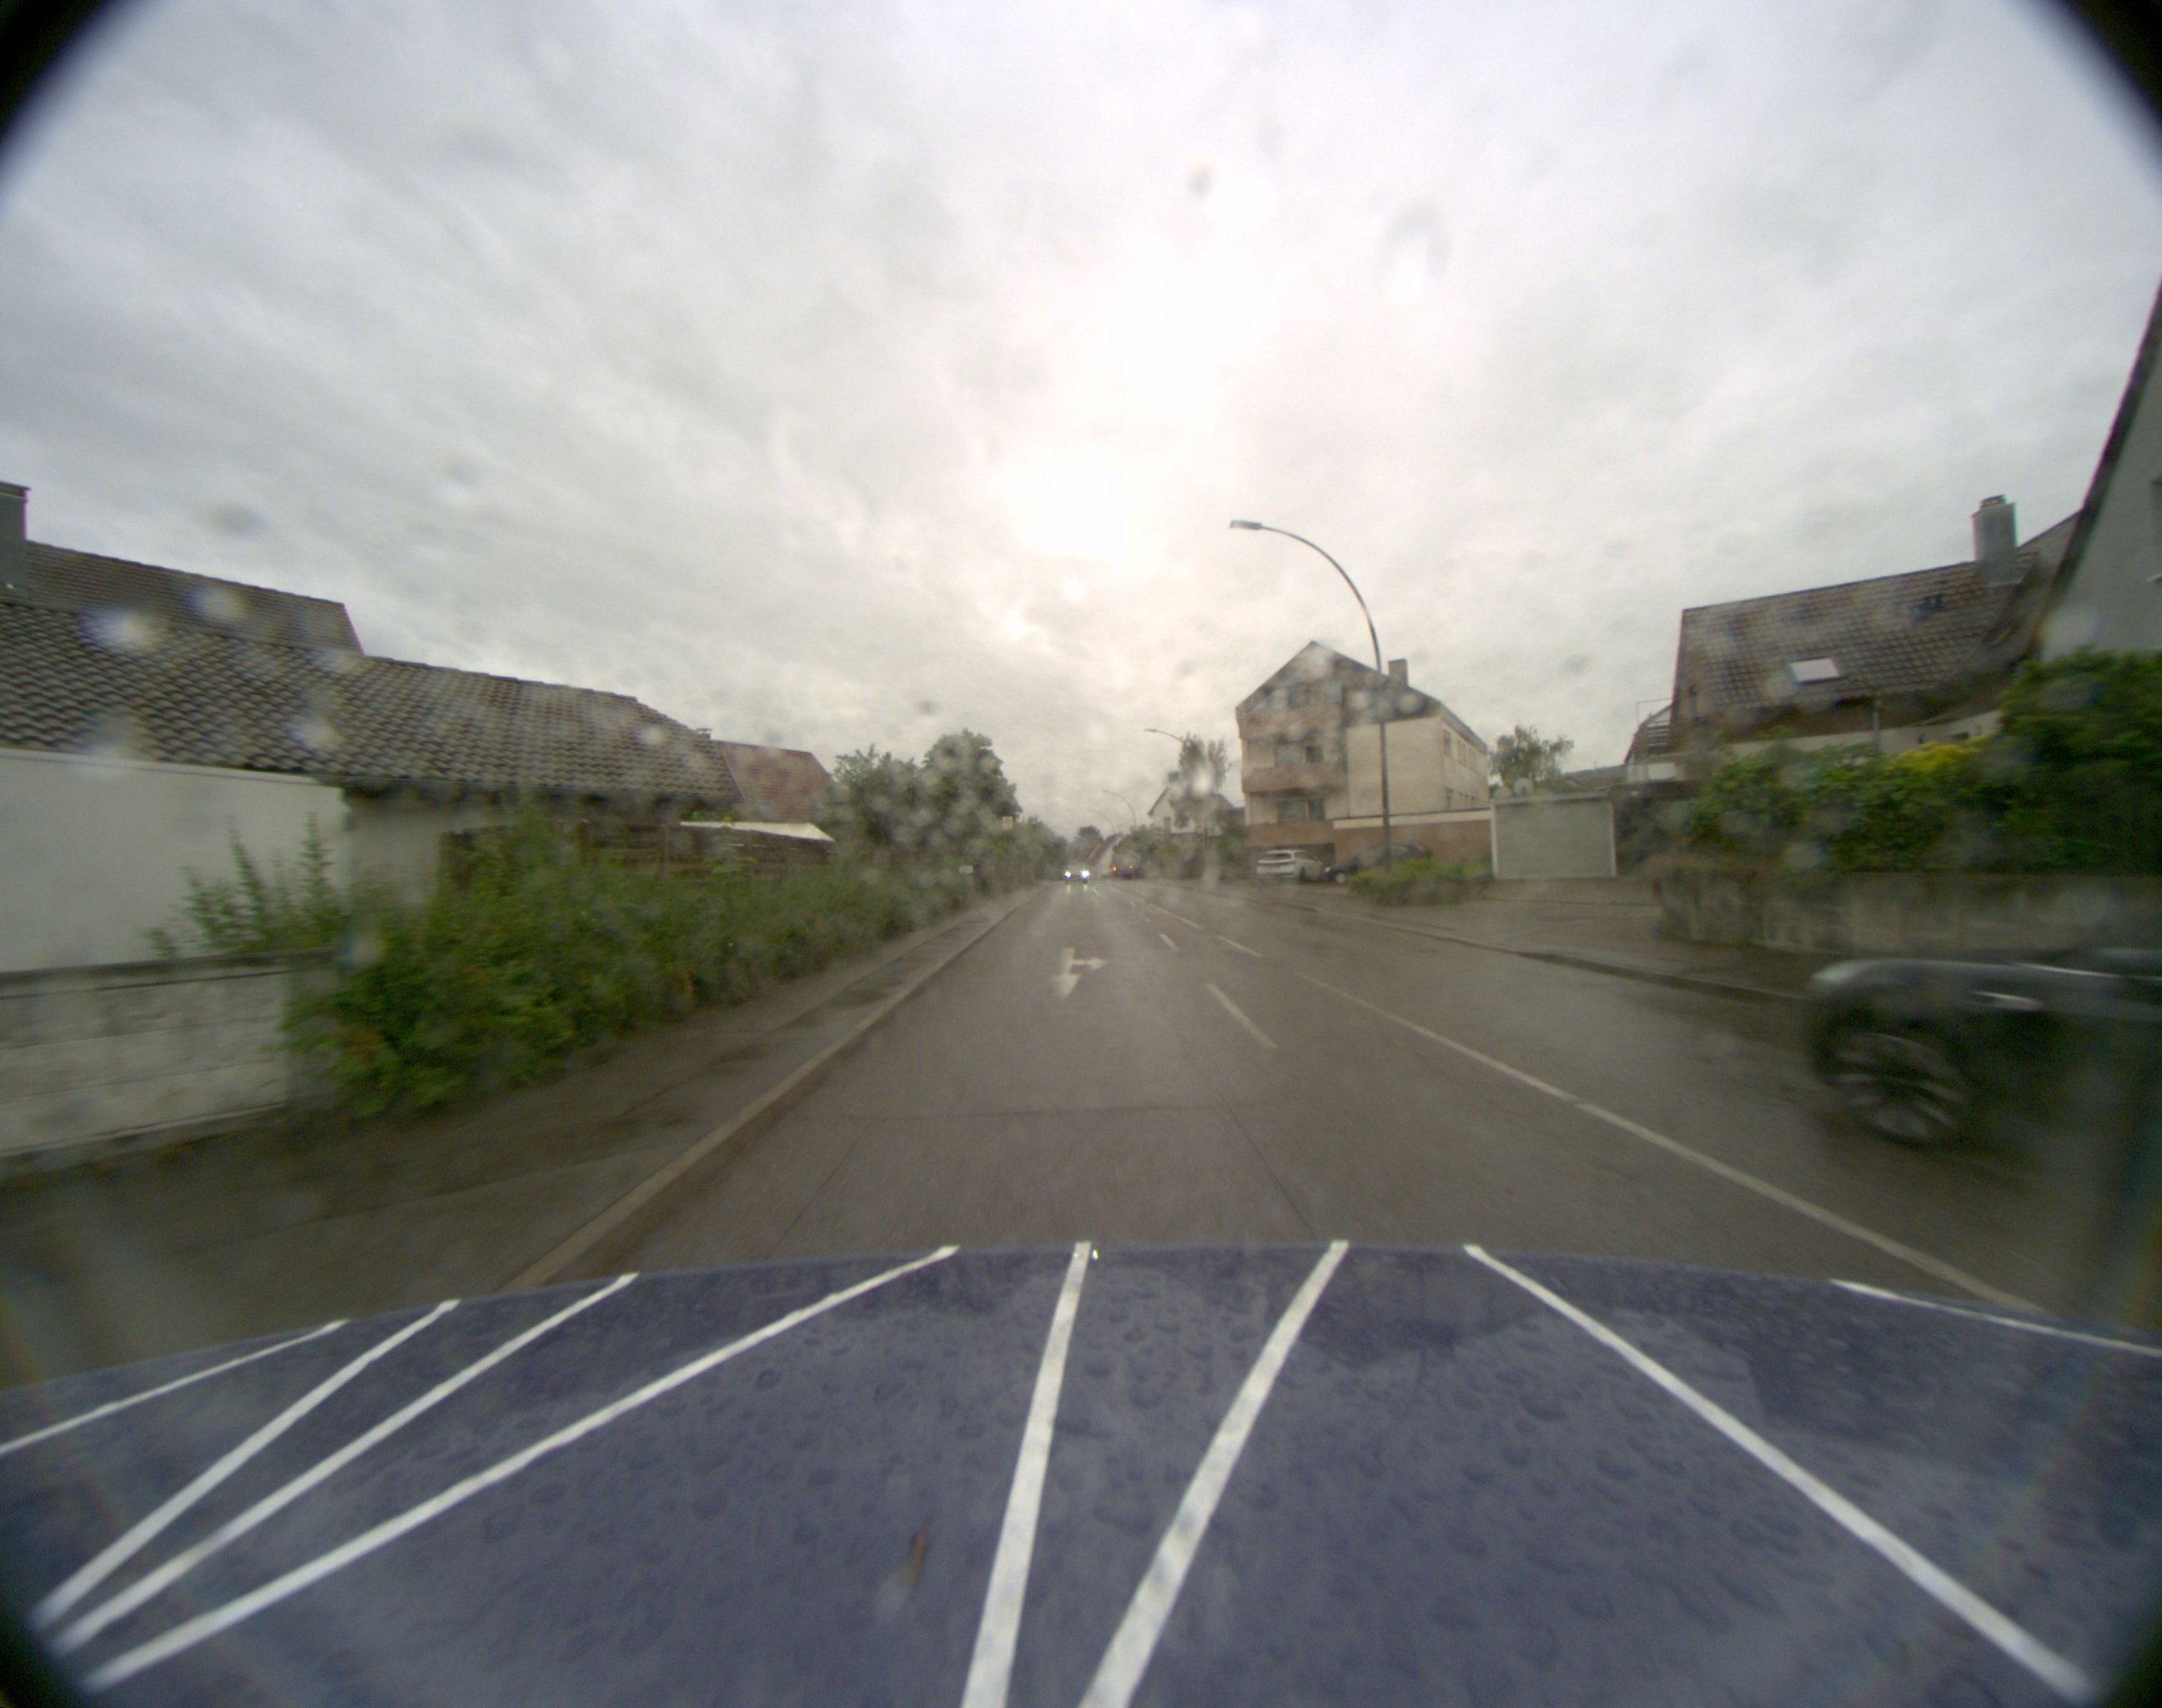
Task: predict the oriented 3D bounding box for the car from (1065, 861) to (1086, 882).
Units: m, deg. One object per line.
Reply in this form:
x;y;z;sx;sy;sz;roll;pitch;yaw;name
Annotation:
-0.437;1.444;62.824;1.687;1.486;3.938;-2;1;0;car

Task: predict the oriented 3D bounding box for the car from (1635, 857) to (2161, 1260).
4.975;0.774;2.941;1.999;1.396;4.620;-2;1;-5;car

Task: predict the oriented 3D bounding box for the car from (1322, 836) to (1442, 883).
10.844;0.212;27.413;3.661;1.510;1.758;-2;1;35;car

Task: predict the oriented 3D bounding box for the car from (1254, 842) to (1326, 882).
9.209;0.317;33.283;1.864;1.510;4.007;-2;1;32;car

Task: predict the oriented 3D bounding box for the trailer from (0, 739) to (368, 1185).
-7.205;0.662;3.944;1.645;2.503;4.711;-3;0;29;trailer

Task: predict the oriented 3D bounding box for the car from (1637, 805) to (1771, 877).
16.535;-0.424;20.398;1.836;1.664;3.866;-2;3;24;car
